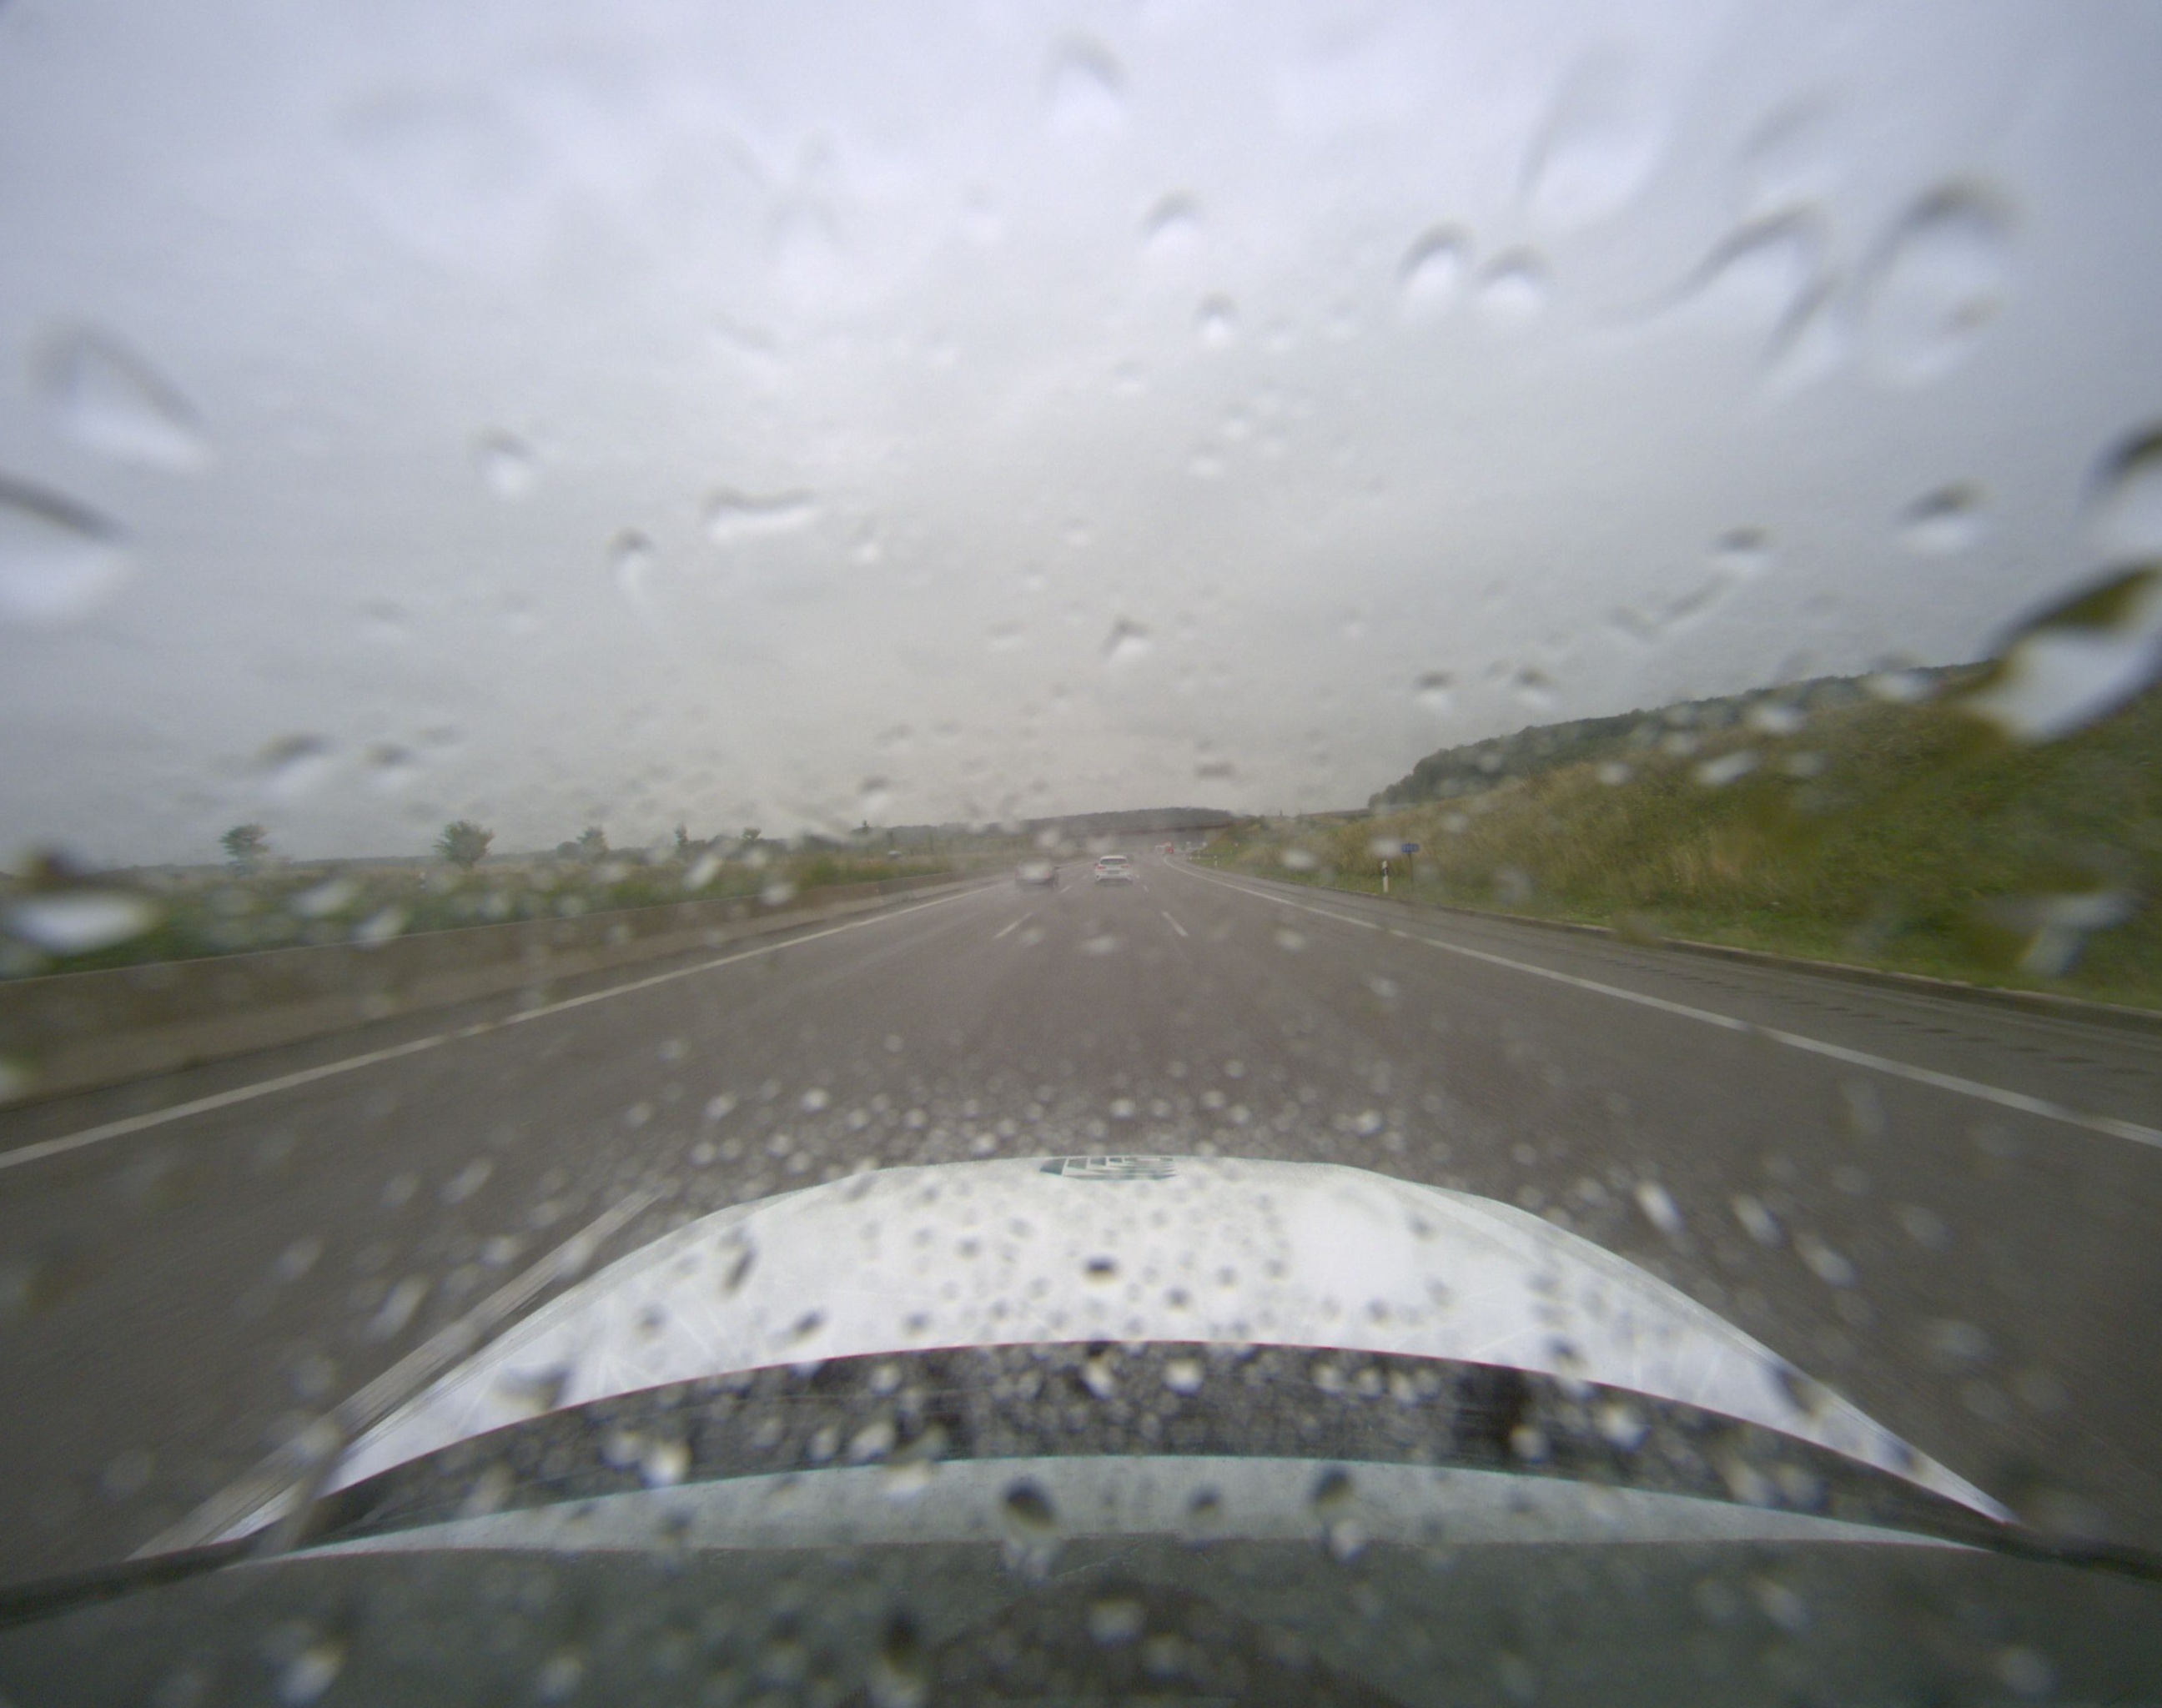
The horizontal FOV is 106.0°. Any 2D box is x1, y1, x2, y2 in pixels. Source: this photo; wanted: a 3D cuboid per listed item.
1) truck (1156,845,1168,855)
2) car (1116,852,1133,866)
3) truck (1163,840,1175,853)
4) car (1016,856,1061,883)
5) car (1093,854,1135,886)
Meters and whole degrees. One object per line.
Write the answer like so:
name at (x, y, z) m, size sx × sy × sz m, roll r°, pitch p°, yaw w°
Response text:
truck at (19.441, -1.009, 195.859) m, size 2.393 × 2.252 × 4.706 m, roll -1°, pitch 0°, yaw 9°
car at (5.386, 0.641, 100.596) m, size 1.984 × 1.618 × 4.005 m, roll -1°, pitch 0°, yaw 4°
truck at (26.992, -2.363, 250.834) m, size 3.510 × 3.742 × 11.445 m, roll -1°, pitch 1°, yaw 5°
car at (-1.893, 0.698, 37.430) m, size 1.817 × 1.156 × 4.213 m, roll -1°, pitch -1°, yaw 0°
car at (1.551, 0.756, 39.972) m, size 1.862 × 1.463 × 3.999 m, roll -1°, pitch 0°, yaw 0°
